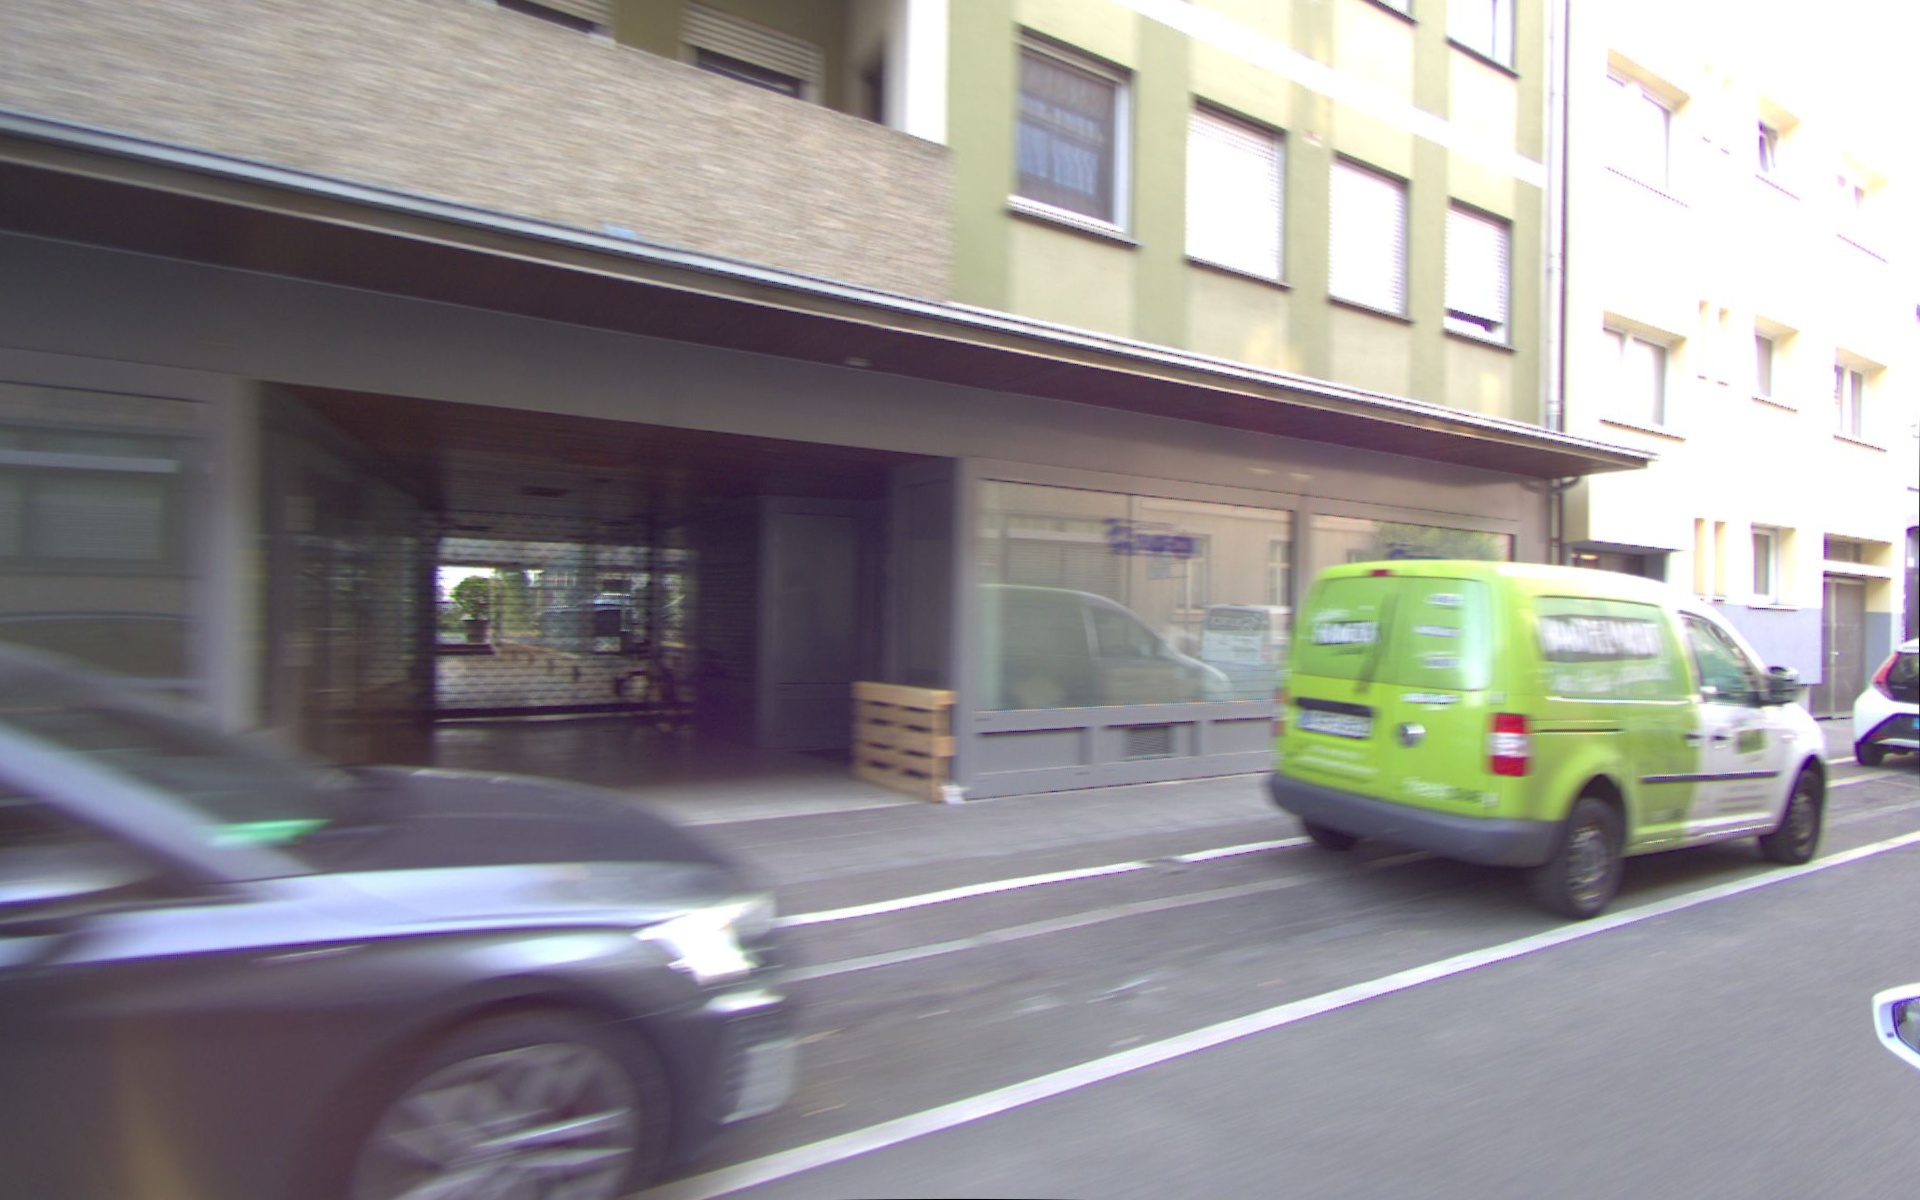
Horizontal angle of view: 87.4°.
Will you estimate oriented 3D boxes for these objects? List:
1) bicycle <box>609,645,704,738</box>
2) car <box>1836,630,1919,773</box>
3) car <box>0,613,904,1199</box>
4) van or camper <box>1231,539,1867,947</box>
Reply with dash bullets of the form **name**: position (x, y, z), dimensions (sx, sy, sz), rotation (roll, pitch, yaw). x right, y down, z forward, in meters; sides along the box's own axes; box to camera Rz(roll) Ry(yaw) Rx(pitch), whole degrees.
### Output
- **bicycle**: position (-3.592, 1.038, 11.807), dimensions (0.493, 0.952, 1.682), rotation (2, -1, -37)
- **car**: position (11.703, 1.154, 11.401), dimensions (3.482, 1.468, 1.653), rotation (2, 2, -32)
- **car**: position (-2.242, 0.764, 2.268), dimensions (3.938, 1.434, 1.614), rotation (2, -1, -33)
- **van or camper**: position (3.873, 0.721, 6.444), dimensions (4.130, 1.872, 1.763), rotation (2, -2, -31)
